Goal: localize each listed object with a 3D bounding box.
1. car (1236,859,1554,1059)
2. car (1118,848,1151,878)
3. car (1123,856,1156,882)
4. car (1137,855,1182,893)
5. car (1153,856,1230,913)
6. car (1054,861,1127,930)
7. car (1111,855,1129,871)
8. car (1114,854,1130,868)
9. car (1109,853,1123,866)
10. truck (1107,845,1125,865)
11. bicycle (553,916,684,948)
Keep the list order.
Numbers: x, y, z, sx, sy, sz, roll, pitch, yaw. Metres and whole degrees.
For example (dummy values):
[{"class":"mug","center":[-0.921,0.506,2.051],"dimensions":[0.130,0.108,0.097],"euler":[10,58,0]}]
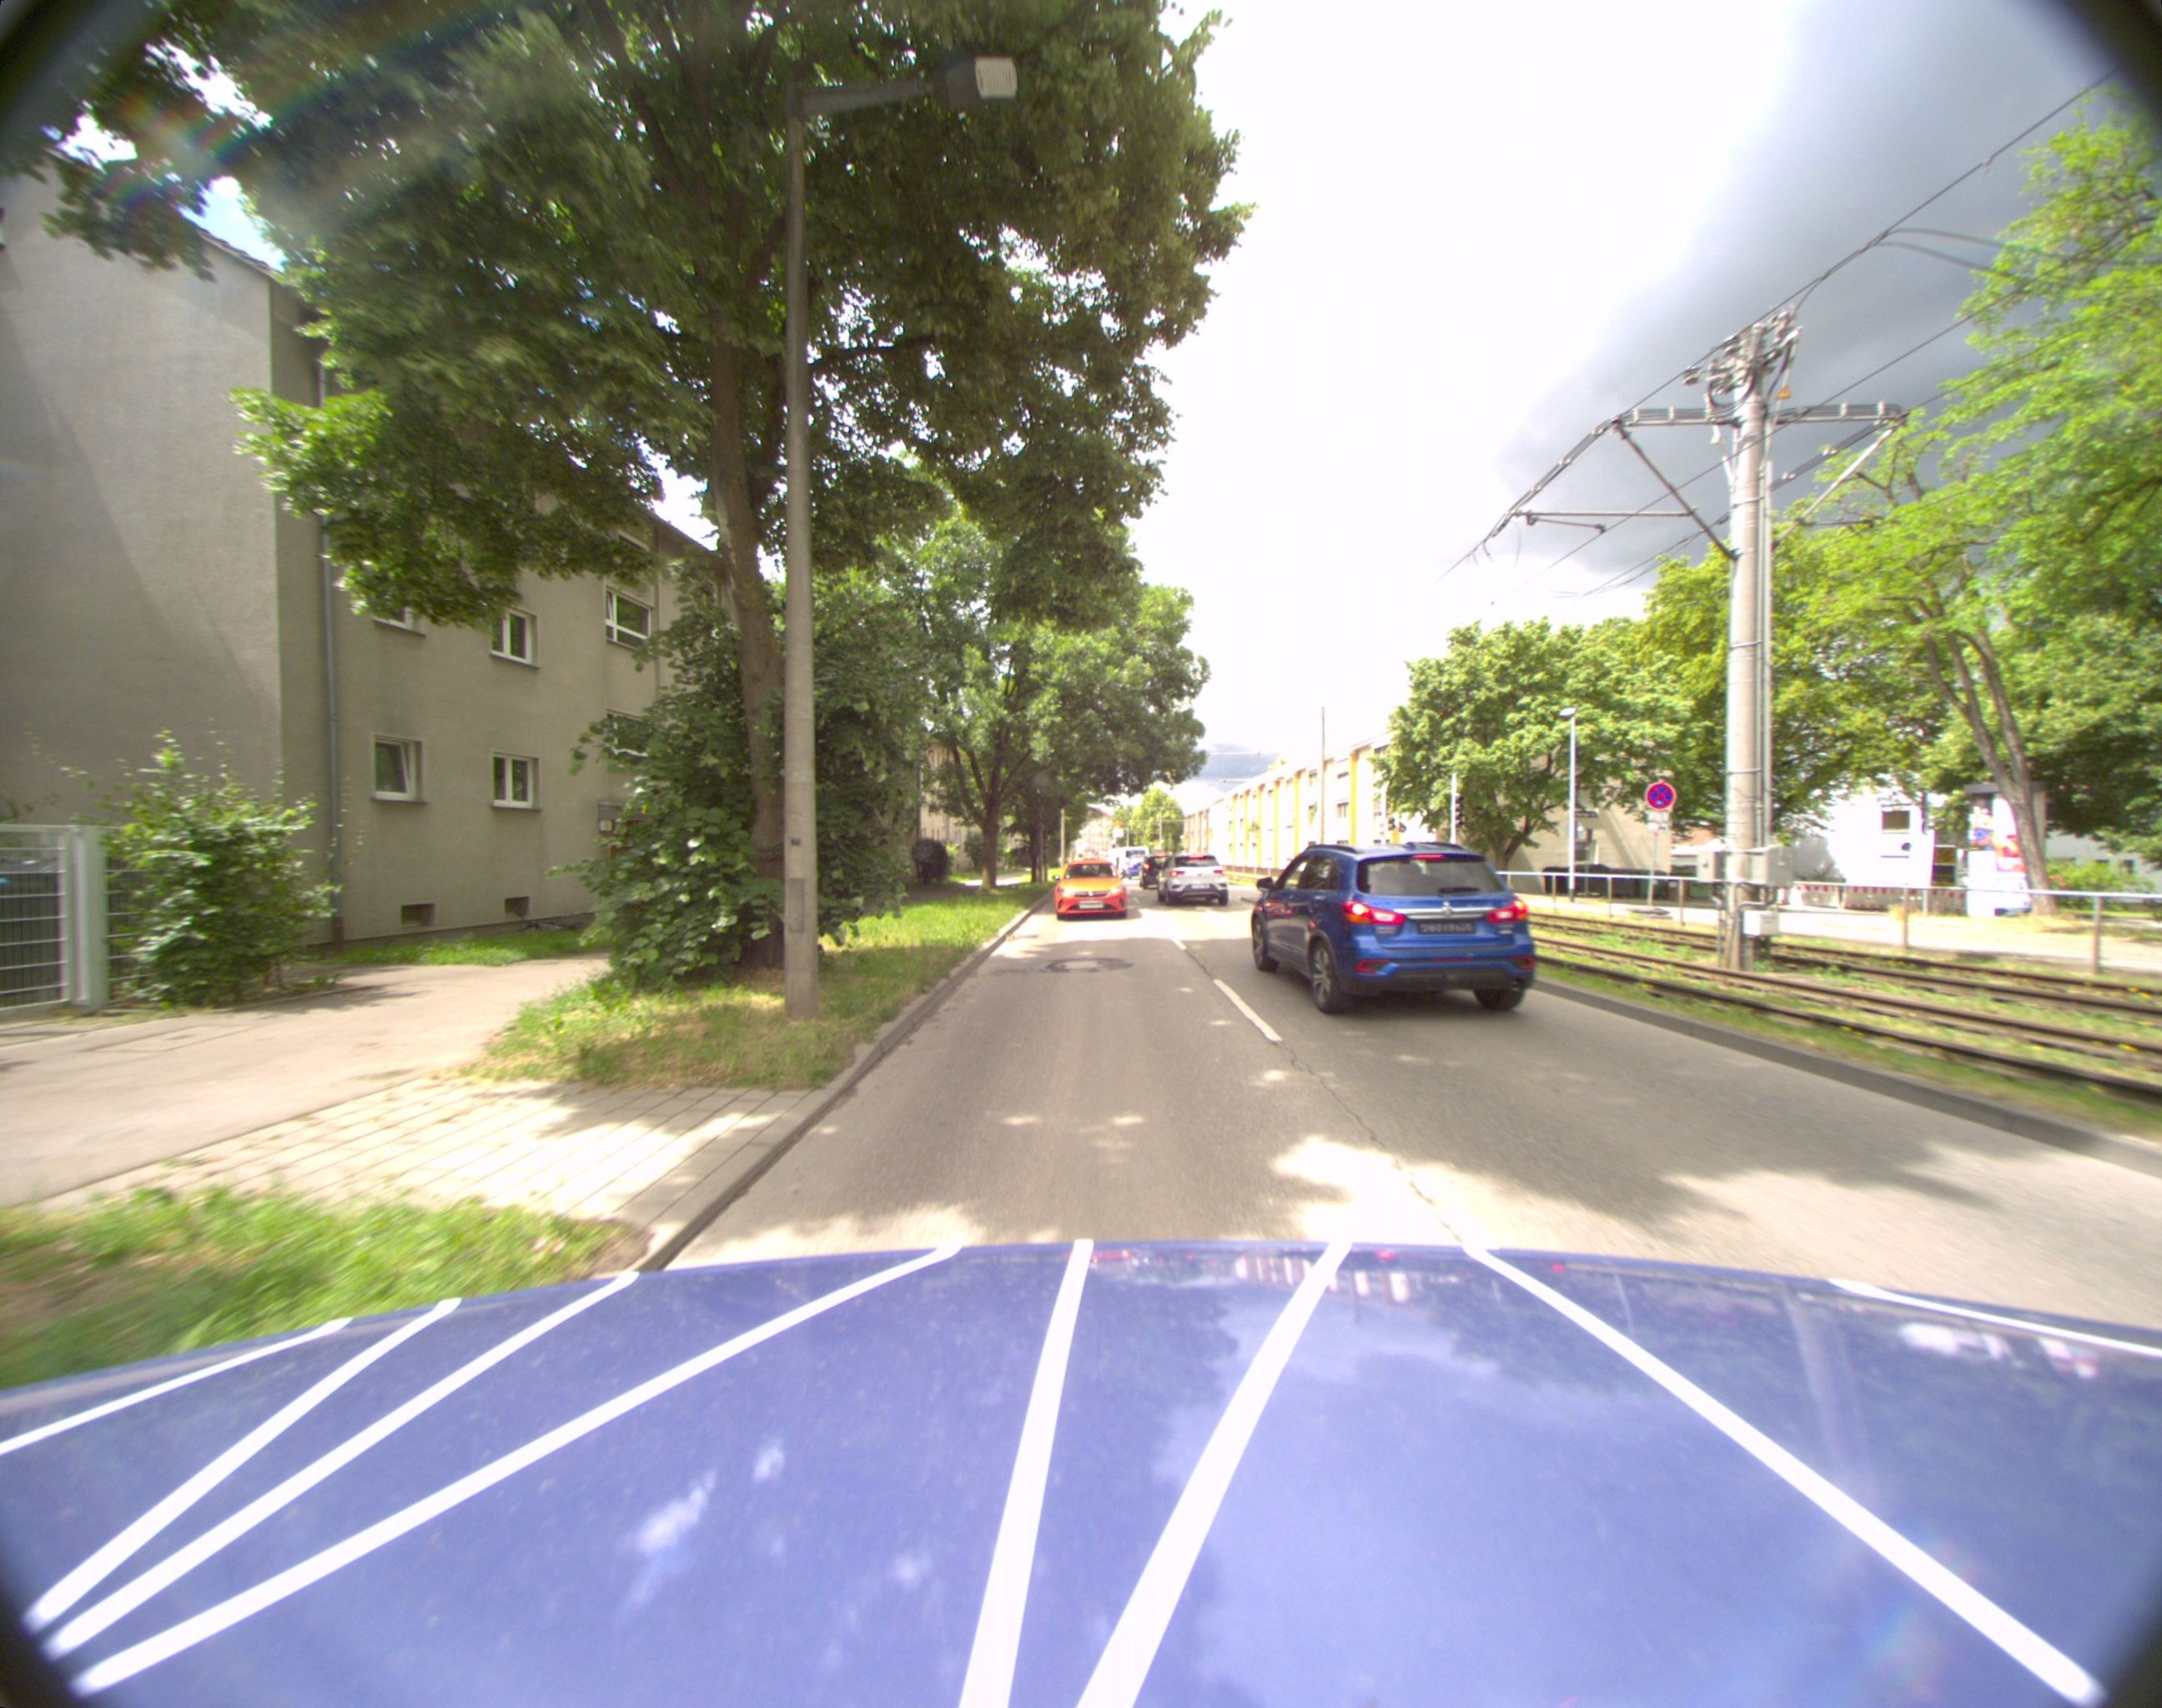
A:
[{"class":"car","center":[2.986,0.869,8.274],"dimensions":[1.717,1.557,4.166],"euler":[-2,0,0]},{"class":"car","center":[3.844,0.625,55.101],"dimensions":[1.999,1.984,4.786],"euler":[-1,0,0]},{"class":"car","center":[3.553,0.873,46.624],"dimensions":[1.585,1.477,3.806],"euler":[-2,0,-1]},{"class":"car","center":[3.474,0.861,34.064],"dimensions":[1.641,1.524,3.275],"euler":[-2,0,0]},{"class":"car","center":[3.288,0.867,23.279],"dimensions":[1.721,1.535,4.000],"euler":[-2,0,0]},{"class":"car","center":[0.245,0.991,19.576],"dimensions":[1.666,1.513,3.786],"euler":[-2,0,1]},{"class":"car","center":[3.904,0.888,76.640],"dimensions":[1.666,1.512,3.678],"euler":[-2,0,1]},{"class":"car","center":[4.713,0.781,88.259],"dimensions":[1.666,1.512,3.786],"euler":[-2,0,1]},{"class":"car","center":[4.590,0.709,100.183],"dimensions":[1.666,1.512,3.862],"euler":[-2,0,1]},{"class":"truck","center":[5.097,0.136,111.560],"dimensions":[2.096,2.723,5.096],"euler":[-2,1,-2]},{"class":"bicycle","center":[-8.673,1.461,14.268],"dimensions":[2.208,0.505,0.673],"euler":[-2,1,12]}]
